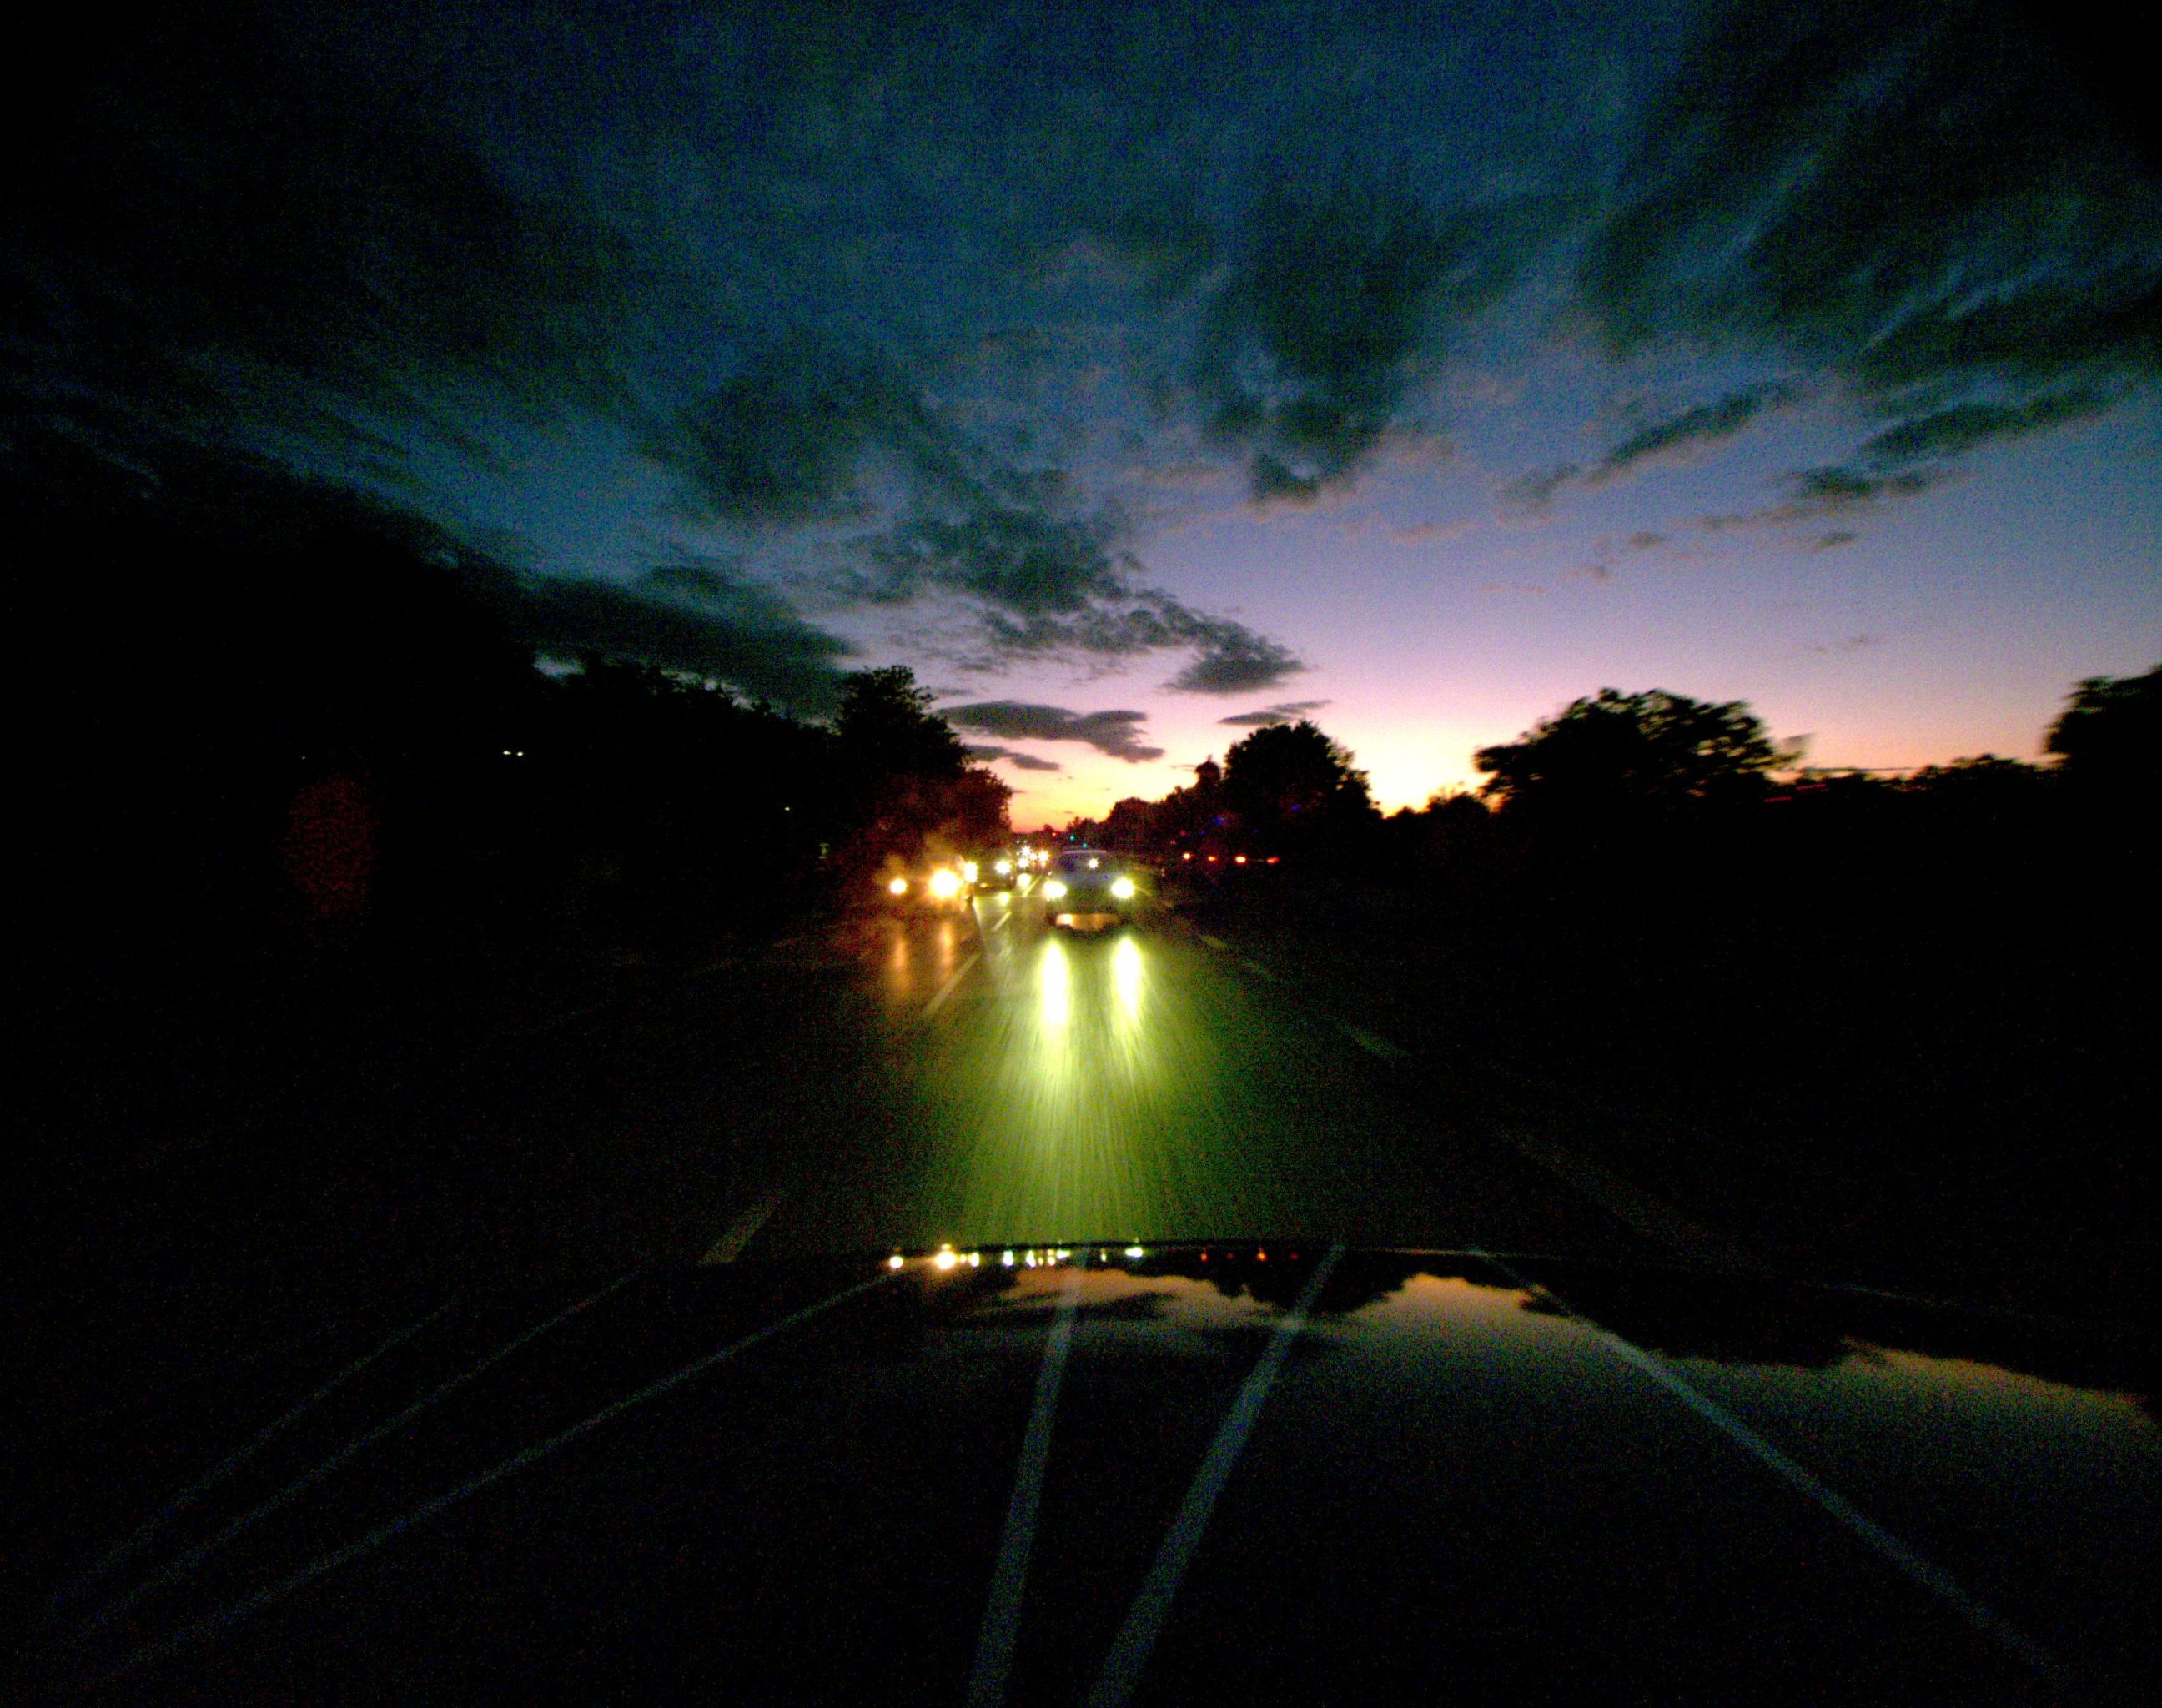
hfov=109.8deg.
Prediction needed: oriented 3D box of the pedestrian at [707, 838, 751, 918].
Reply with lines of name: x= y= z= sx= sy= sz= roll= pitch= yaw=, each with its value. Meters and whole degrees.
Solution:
pedestrian: x=-9.055 y=0.598 z=19.558 sx=0.782 sy=2.002 sz=0.712 roll=-4 pitch=2 yaw=-40

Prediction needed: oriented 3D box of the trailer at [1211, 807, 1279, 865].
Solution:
trailer: x=11.941 y=-1.289 z=56.149 sx=2.584 sy=3.920 sz=8.873 roll=1 pitch=1 yaw=-3

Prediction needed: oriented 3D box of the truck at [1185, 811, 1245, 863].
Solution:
truck: x=11.393 y=-1.428 z=65.671 sx=2.733 sy=4.094 sz=10.340 roll=-1 pitch=1 yaw=-4

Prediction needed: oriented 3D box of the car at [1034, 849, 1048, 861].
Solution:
car: x=-4.634 y=0.128 z=88.557 sx=1.607 sy=1.291 sz=3.551 roll=1 pitch=1 yaw=-3

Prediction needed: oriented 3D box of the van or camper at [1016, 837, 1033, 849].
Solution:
van or camper: x=-15.178 y=-2.953 z=203.485 sx=3.950 sy=3.107 sz=9.939 roll=0 pitch=1 yaw=-1

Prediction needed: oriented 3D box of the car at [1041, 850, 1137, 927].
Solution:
car: x=0.145 y=0.692 z=17.465 sx=1.819 sy=1.428 sz=4.645 roll=-4 pitch=0 yaw=0

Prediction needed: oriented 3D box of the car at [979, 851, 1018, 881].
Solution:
car: x=-4.156 y=0.580 z=38.737 sx=1.621 sy=1.405 sz=3.754 roll=-1 pitch=0 yaw=0

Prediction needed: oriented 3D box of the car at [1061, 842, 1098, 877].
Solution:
car: x=-0.077 y=0.256 z=39.743 sx=1.760 sy=1.692 sz=4.249 roll=-2 pitch=0 yaw=0

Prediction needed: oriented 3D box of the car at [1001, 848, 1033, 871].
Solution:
car: x=-4.221 y=0.337 z=50.439 sx=1.819 sy=1.360 sz=3.998 roll=-2 pitch=1 yaw=-1

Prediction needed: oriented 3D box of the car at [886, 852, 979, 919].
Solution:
car: x=-3.738 y=0.745 z=19.735 sx=1.663 sy=1.528 sz=3.714 roll=-2 pitch=0 yaw=0

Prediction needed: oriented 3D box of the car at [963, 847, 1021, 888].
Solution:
car: x=-3.647 y=0.516 z=31.853 sx=1.902 sy=1.548 sz=4.300 roll=-2 pitch=0 yaw=0
